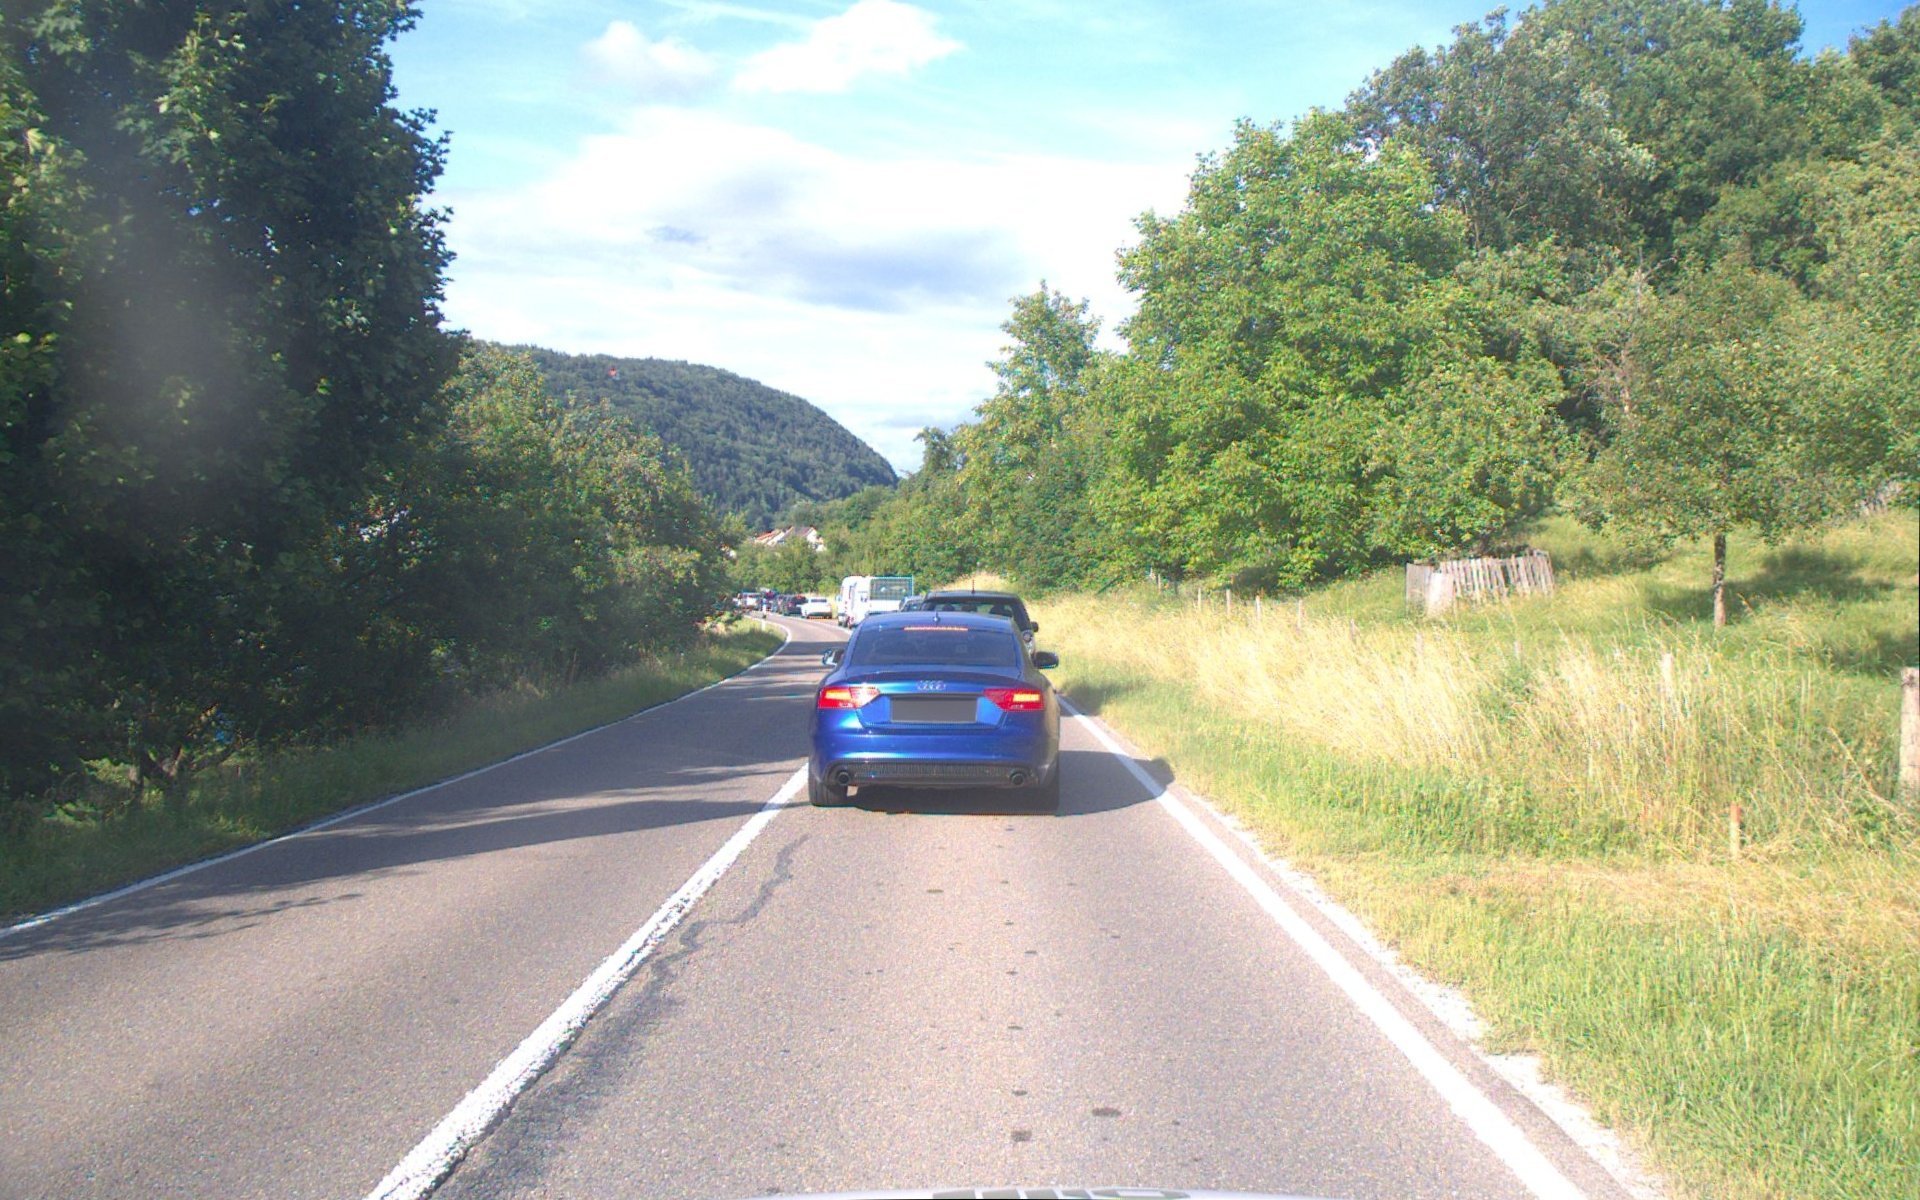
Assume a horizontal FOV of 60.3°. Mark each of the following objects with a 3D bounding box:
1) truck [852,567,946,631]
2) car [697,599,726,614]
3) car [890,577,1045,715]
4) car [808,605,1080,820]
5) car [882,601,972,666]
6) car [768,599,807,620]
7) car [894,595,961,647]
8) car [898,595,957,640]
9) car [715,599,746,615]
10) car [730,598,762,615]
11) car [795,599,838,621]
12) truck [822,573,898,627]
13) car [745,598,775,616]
[{"bbox_3d":[-2.942,-0.044,75.992,2.813,2.712,10.366,1,0,-11],"label":"truck"},{"bbox_3d":[-25.118,0.688,167.209,1.966,1.508,3.973,1,-1,-22],"label":"car"},{"bbox_3d":[0.094,0.606,23.110,1.953,1.732,4.000,1,-1,0],"label":"car"},{"bbox_3d":[-0.071,0.747,12.802,1.757,1.383,4.000,1,0,1],"label":"car"},{"bbox_3d":[-0.730,0.754,38.451,1.953,1.411,4.000,1,-1,0],"label":"car"},{"bbox_3d":[-12.732,0.687,121.856,1.964,1.508,3.976,1,-1,-20],"label":"car"},{"bbox_3d":[-0.967,0.629,50.868,1.953,1.508,4.000,1,-1,0],"label":"car"},{"bbox_3d":[-1.099,0.607,57.529,1.953,1.508,4.000,1,-1,0],"label":"car"},{"bbox_3d":[-21.958,0.667,158.031,1.966,1.508,3.973,1,-1,-22],"label":"car"},{"bbox_3d":[-19.643,0.631,151.537,1.966,1.508,3.973,1,-1,-22],"label":"car"},{"bbox_3d":[-9.858,0.690,113.433,1.964,1.508,3.976,1,-1,-20],"label":"car"},{"bbox_3d":[-5.583,-0.013,90.285,2.813,2.712,10.617,1,0,-11],"label":"truck"},{"bbox_3d":[-17.279,0.618,142.990,1.961,1.508,3.982,1,-1,-16],"label":"car"}]
